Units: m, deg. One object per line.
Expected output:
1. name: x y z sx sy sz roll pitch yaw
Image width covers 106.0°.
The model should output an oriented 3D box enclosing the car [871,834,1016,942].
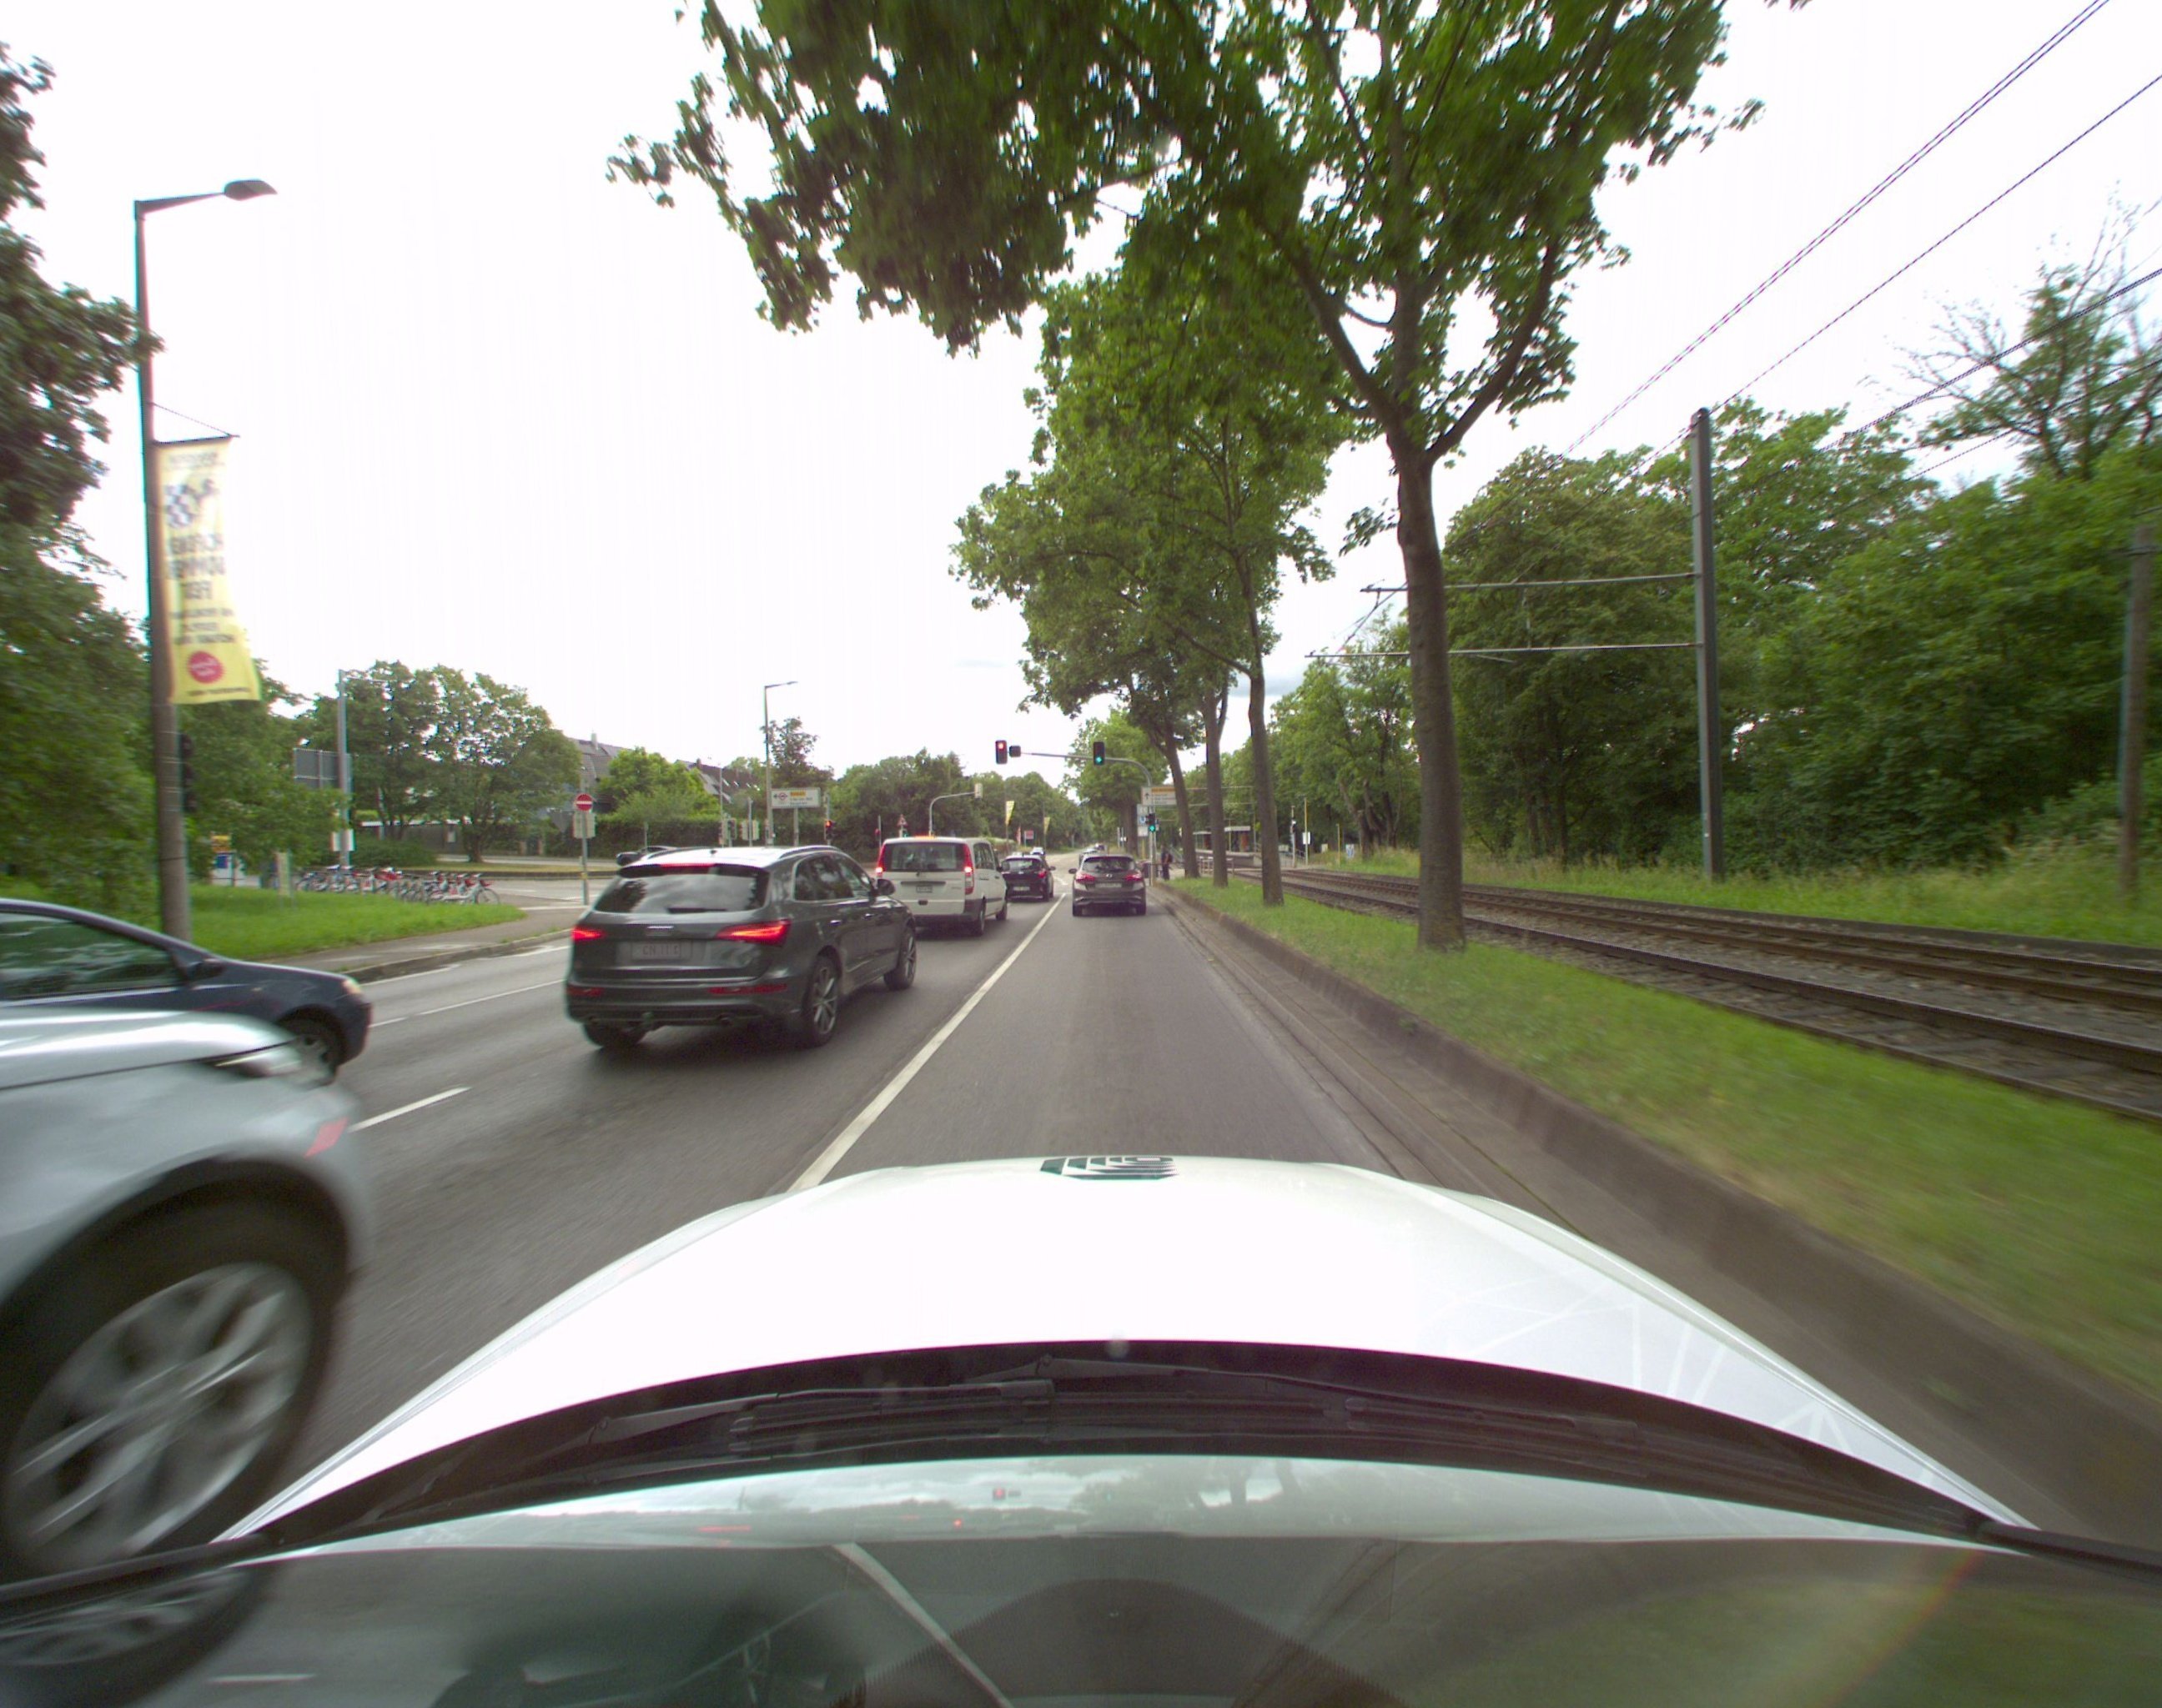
1. car: -2.617 0.586 16.906 1.900 1.843 5.284 -1 0 2

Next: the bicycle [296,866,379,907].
1. bicycle: -24.400 1.042 26.765 0.539 1.252 1.946 0 0 24

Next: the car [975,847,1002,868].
1. car: -8.709 0.332 77.114 1.936 1.874 4.542 -1 0 1

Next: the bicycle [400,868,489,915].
1. bicycle: -18.411 1.065 23.597 0.539 1.252 1.947 0 0 39

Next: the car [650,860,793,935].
1. car: -8.367 0.941 19.335 1.735 1.538 3.907 0 0 -2

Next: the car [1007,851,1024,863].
1. car: -8.104 0.411 100.849 1.736 1.464 4.342 0 0 0

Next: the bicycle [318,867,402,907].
1. bicycle: -23.332 1.047 26.402 0.539 1.252 1.948 0 0 35

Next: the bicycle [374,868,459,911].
1. bicycle: -20.444 1.058 25.089 0.539 1.252 1.947 0 0 39

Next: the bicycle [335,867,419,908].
1. bicycle: -22.475 1.050 26.027 0.539 1.252 1.948 0 0 35

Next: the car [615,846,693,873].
1. car: -30.126 0.357 57.498 4.416 1.811 1.949 -1 0 -1

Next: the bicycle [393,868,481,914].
1. bicycle: -18.938 1.063 23.974 0.539 1.252 1.947 0 0 39

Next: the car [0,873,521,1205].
1. car: -5.785 0.940 5.102 1.585 1.468 3.933 -3 0 4

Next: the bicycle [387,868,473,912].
1. bicycle: -19.659 1.061 24.615 0.539 1.252 1.947 0 0 39

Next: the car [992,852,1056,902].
1. car: -1.791 0.704 26.706 1.697 1.480 3.669 -1 0 2

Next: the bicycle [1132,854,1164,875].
1. bicycle: 3.722 0.583 45.528 1.670 1.090 0.601 -4 0 -2

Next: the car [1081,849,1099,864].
1. car: 0.957 0.223 84.670 1.703 1.475 3.675 0 0 4

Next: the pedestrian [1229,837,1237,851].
1. pedestrian: 16.417 -1.109 87.854 0.715 1.511 0.725 0 0 4

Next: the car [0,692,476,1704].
1. car: -2.865 0.607 0.288 1.796 1.795 4.506 0 0 2

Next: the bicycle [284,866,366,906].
1. bicycle: -25.053 1.040 27.040 0.539 1.252 1.944 0 0 19

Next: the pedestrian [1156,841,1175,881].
1. pedestrian: 3.818 0.300 36.799 0.748 1.737 0.841 -4 0 6

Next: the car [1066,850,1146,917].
1. car: 0.712 0.664 20.769 1.829 1.528 3.933 -1 0 4

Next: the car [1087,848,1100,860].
1. car: 1.569 0.015 102.145 1.496 1.528 3.675 0 0 4

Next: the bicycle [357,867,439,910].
1. bicycle: -21.337 1.055 25.498 0.539 1.252 1.944 0 0 19

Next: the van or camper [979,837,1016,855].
1. van or camper: -17.532 -1.666 170.860 7.115 3.370 2.798 4 1 1

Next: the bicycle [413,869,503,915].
1. bicycle: -17.786 1.067 23.286 0.539 1.252 1.947 0 0 39

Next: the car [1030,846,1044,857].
1. car: -6.882 -0.345 127.275 1.896 1.678 5.079 -1 0 0

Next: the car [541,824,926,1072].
1. car: -2.894 0.678 7.972 1.744 1.718 4.336 -2 0 2
